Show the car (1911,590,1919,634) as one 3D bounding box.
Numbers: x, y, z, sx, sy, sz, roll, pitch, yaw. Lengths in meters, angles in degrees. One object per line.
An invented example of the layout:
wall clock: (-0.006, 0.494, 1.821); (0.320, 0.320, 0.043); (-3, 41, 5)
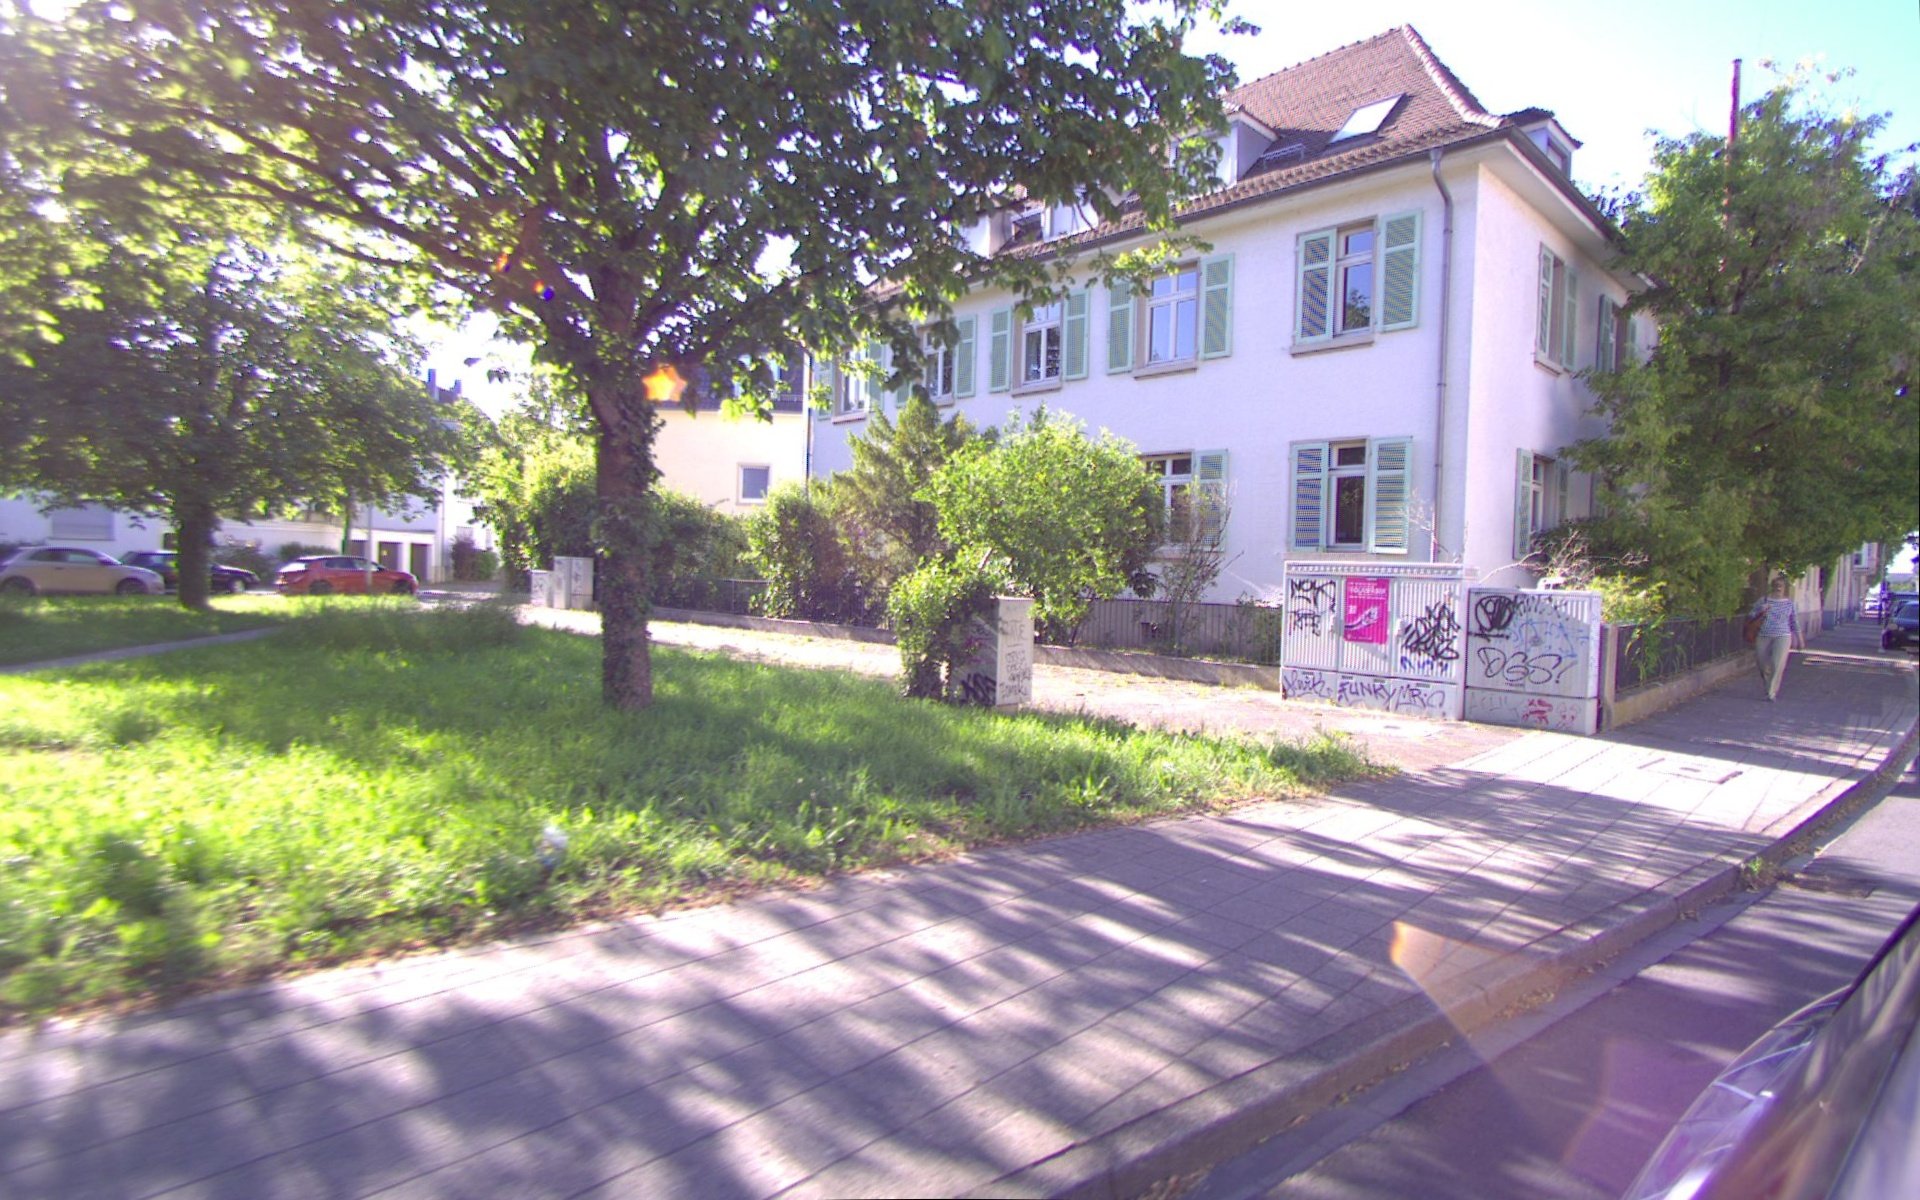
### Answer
car: (35.556, 0.422, 36.563); (1.600, 1.544, 3.496); (1, 1, 41)

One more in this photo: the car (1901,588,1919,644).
car: (29.364, 0.477, 30.260); (1.666, 1.583, 3.711); (3, 3, 44)

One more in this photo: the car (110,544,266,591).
car: (-26.523, -1.087, 34.872); (1.787, 1.503, 3.951); (3, 2, 36)

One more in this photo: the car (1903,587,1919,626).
car: (41.139, 0.282, 43.002); (1.456, 1.619, 3.245); (1, 1, 41)

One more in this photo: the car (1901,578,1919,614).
car: (55.384, -0.217, 58.110); (1.905, 2.012, 4.493); (1, 1, 42)

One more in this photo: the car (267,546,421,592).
car: (-19.562, -0.963, 32.284); (1.454, 1.361, 3.969); (3, 2, 32)

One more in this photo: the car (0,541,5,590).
car: (-31.173, -1.086, 30.422); (1.633, 1.503, 3.542); (3, 2, 44)

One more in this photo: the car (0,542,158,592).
car: (-24.006, -0.898, 27.637); (3.258, 1.271, 1.449); (0, 2, -40)

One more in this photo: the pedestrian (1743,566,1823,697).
pedestrian: (11.342, 0.403, 13.946); (0.718, 1.708, 0.857); (4, 3, 42)

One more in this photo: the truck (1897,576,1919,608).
truck: (79.169, -0.628, 83.755); (2.296, 2.508, 6.050); (3, 2, 43)
